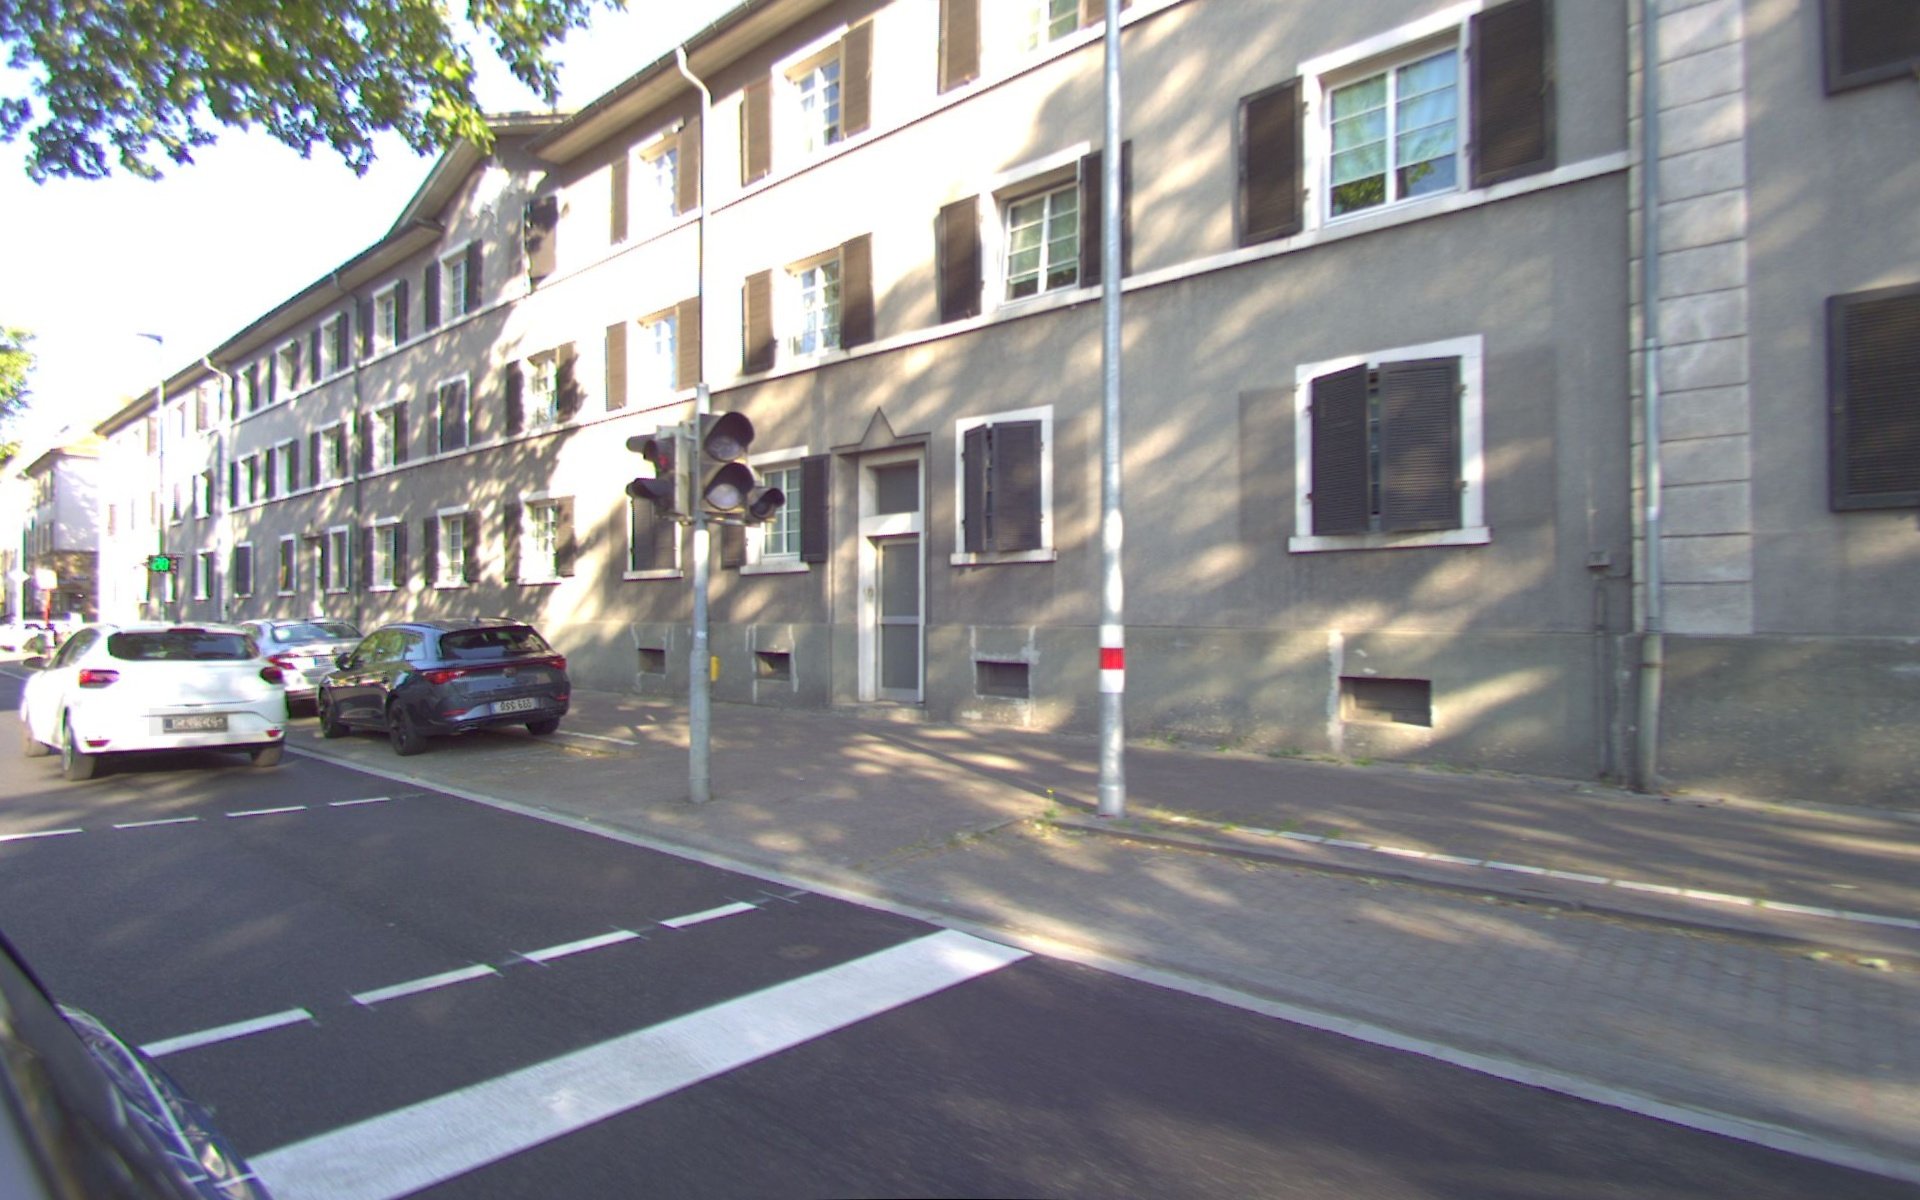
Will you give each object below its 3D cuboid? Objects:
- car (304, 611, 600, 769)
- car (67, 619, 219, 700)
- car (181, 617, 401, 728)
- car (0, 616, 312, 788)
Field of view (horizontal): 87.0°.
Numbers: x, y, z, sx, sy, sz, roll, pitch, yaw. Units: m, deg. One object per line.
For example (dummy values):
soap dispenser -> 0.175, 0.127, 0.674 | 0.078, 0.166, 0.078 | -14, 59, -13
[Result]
car -> -6.244, 0.944, 12.235 | 4.086, 1.494, 1.845 | -1, 1, 43
car -> -18.293, 1.257, 22.603 | 4.082, 1.624, 1.847 | -1, -1, 39
car -> -10.784, 1.064, 16.213 | 4.083, 1.494, 1.846 | -1, 0, 40
car -> -8.743, 0.965, 10.872 | 4.083, 1.495, 1.846 | -1, -3, 40
